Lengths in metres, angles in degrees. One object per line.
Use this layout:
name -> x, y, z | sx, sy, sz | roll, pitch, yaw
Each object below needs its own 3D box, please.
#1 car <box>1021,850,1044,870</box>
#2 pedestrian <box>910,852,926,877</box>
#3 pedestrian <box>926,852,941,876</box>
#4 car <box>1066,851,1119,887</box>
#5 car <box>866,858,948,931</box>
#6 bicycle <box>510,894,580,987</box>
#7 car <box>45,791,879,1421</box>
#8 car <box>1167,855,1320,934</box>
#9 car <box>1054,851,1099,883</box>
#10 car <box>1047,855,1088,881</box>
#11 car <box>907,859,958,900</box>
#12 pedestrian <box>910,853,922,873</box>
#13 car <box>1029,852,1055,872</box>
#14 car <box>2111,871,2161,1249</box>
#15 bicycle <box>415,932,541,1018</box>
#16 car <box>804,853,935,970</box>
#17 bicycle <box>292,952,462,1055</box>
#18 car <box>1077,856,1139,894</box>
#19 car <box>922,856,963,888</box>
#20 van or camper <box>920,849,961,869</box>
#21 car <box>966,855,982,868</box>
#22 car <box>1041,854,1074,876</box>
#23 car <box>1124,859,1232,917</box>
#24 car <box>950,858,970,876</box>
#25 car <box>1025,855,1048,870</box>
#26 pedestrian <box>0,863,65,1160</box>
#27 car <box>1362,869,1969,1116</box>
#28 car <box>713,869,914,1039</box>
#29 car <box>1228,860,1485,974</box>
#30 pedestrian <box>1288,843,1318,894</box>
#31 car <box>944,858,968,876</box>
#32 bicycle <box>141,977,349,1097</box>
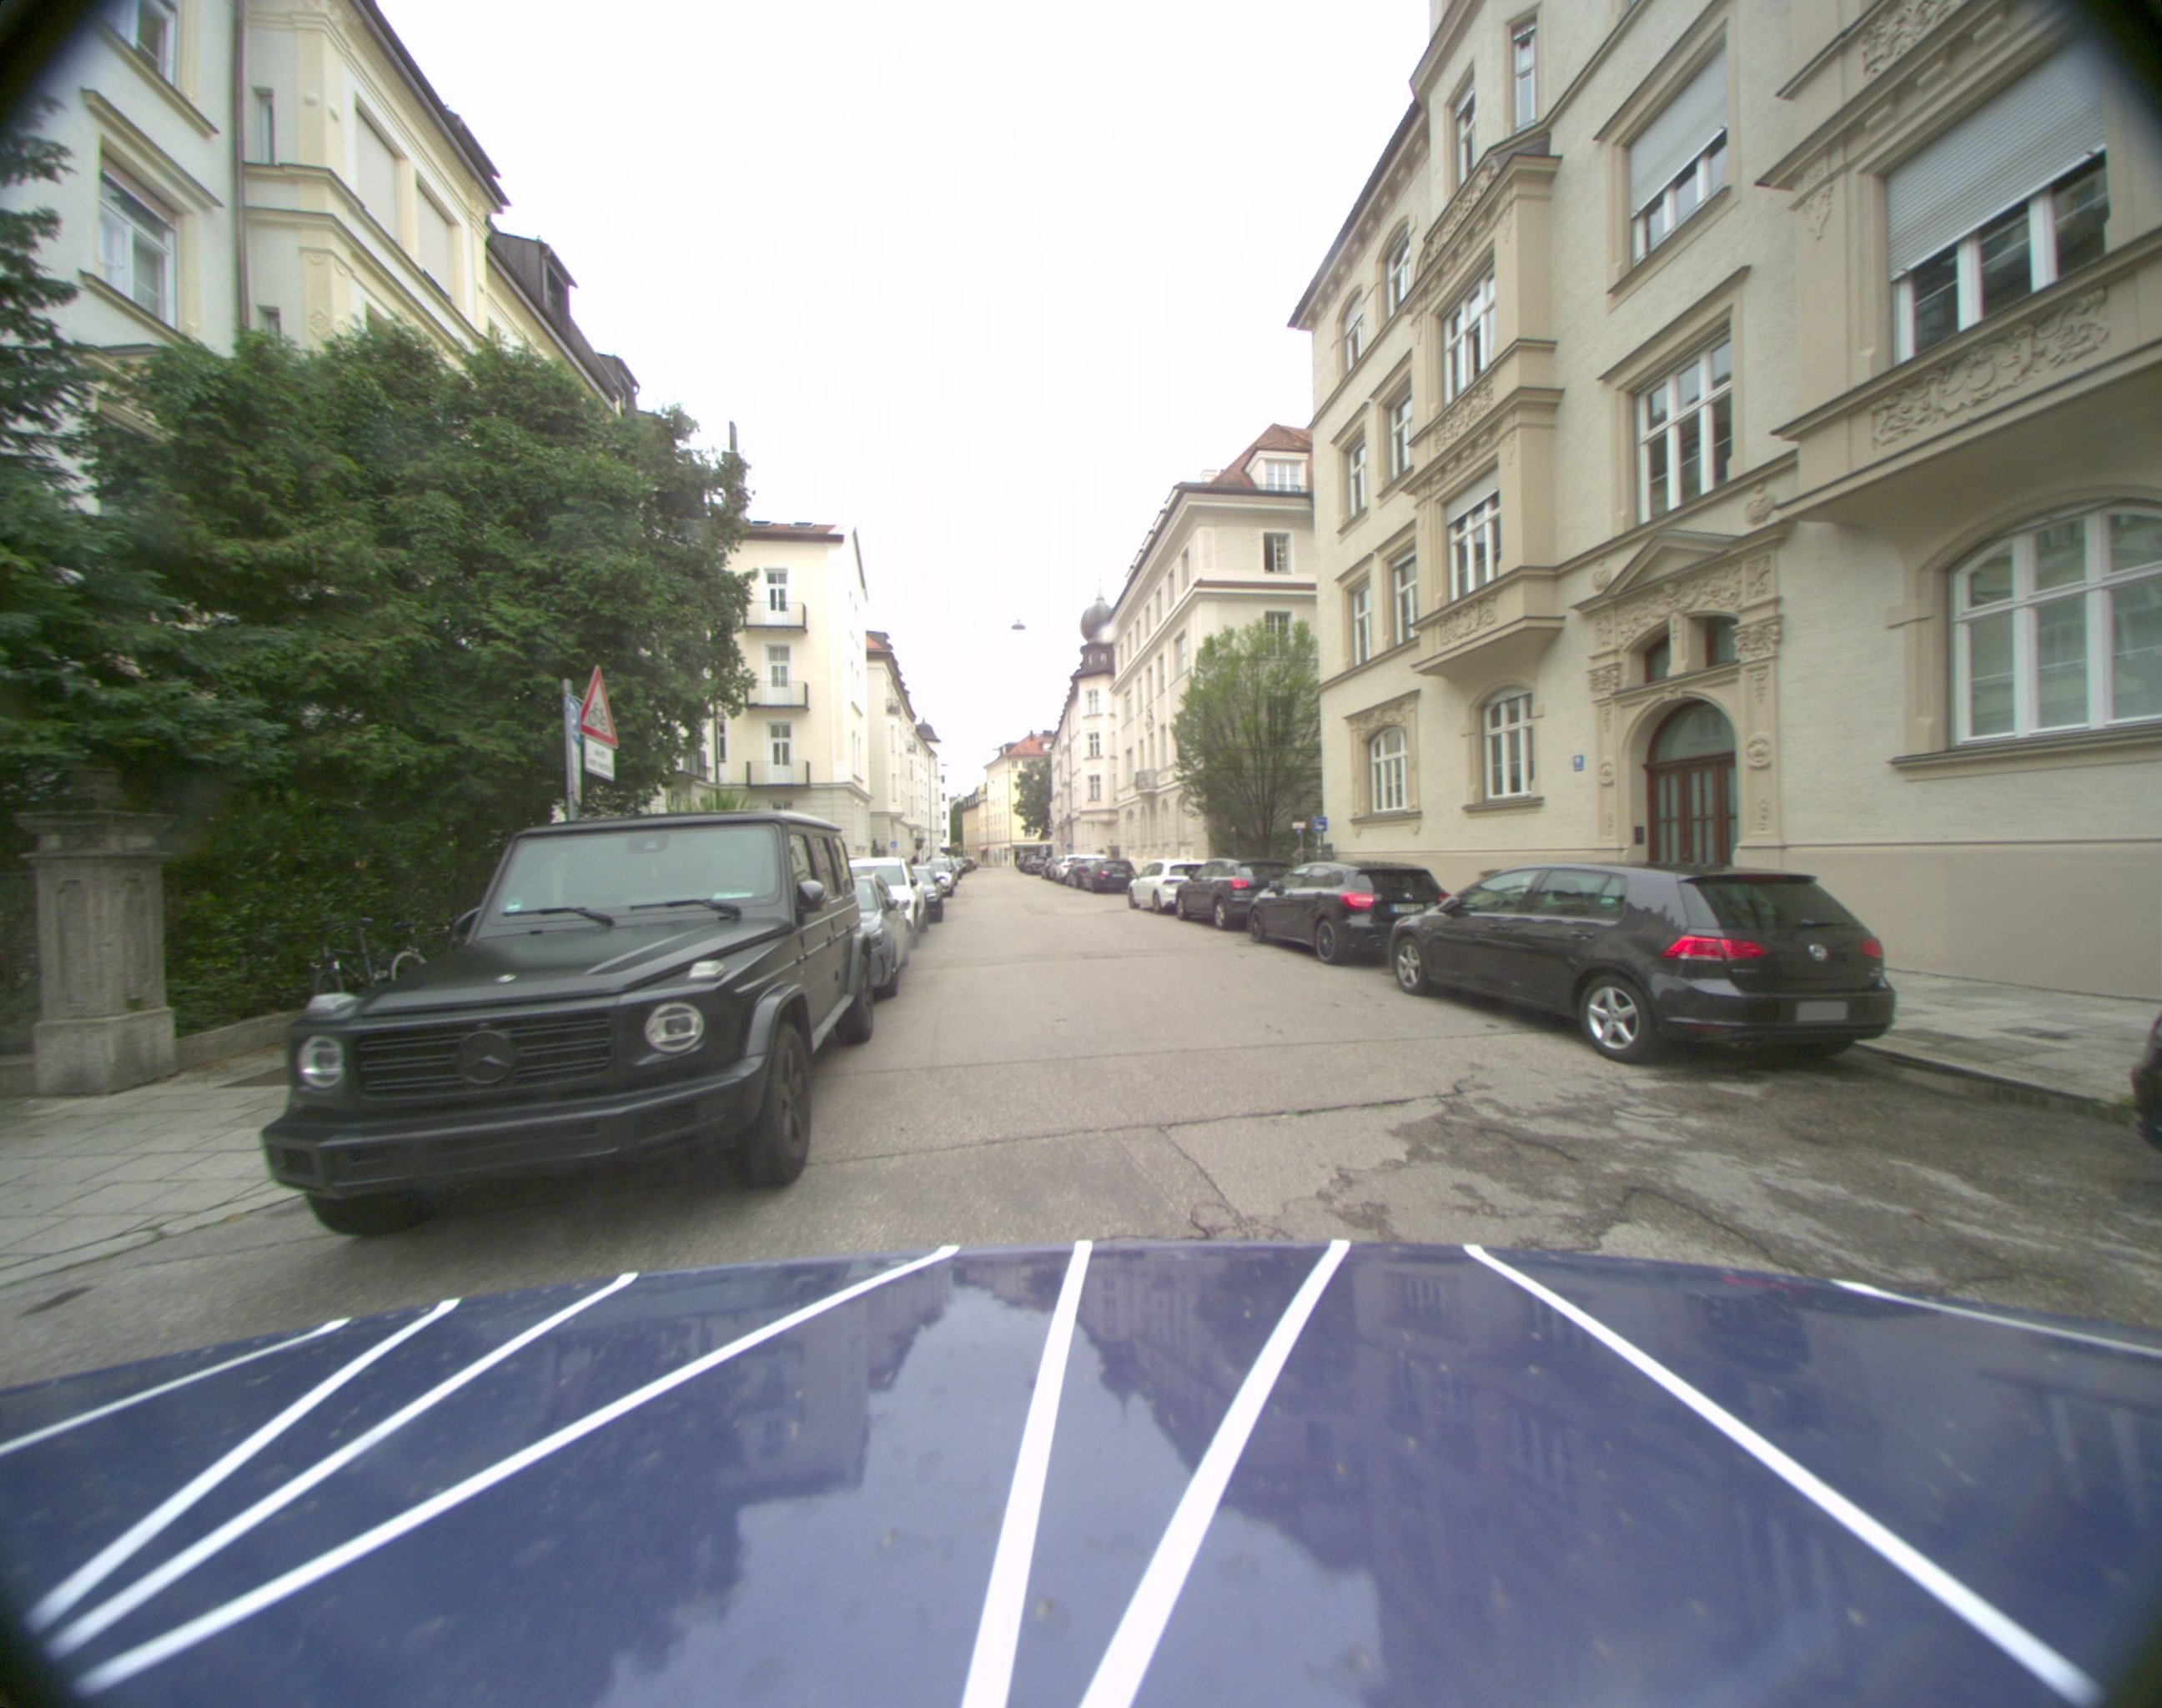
car -> -4.763, 0.621, 74.191 | 1.842, 1.883, 4.760 | 0, 0, -8
pedestrian -> -11.942, 0.773, 55.704 | 0.885, 1.801, 1.110 | -2, 1, -3
pedestrian -> -11.071, 0.750, 56.891 | 0.885, 1.776, 1.111 | -2, 1, -2
car -> 0.478, 0.686, 36.444 | 1.842, 1.609, 4.241 | -2, 0, -8
car -> -4.481, 0.965, 19.914 | 1.756, 1.601, 4.419 | -4, 0, -11
bicycle -> -7.166, 1.116, 10.200 | 0.515, 1.088, 1.351 | -2, 1, -26
car -> -2.641, 0.835, 4.895 | 1.957, 1.943, 4.662 | -3, 0, -8
car -> 3.416, 0.814, 16.899 | 1.776, 1.509, 4.381 | 1, 0, -10
car -> -0.326, 0.674, 41.931 | 1.921, 1.609, 4.568 | -2, 0, -7
car -> -0.892, 0.839, 47.071 | 1.789, 1.532, 4.253 | 0, 0, -11
car -> -6.143, 1.014, 31.797 | 1.790, 1.496, 4.062 | -3, 1, -8
pedestrian -> -15.039, 0.829, 69.165 | 0.886, 1.803, 1.110 | -2, 0, -7
car -> -3.267, 0.661, 62.814 | 1.732, 1.609, 4.117 | 0, 0, -10
car -> 5.385, 0.826, 1.253 | 1.759, 1.491, 4.015 | 0, 0, -7
bicycle -> -7.072, 1.389, 8.984 | 0.514, 0.777, 1.353 | -2, 0, -7
car -> -3.953, 0.954, 14.893 | 1.728, 1.759, 4.409 | -4, 1, -7
bicycle -> -6.921, 1.440, 7.553 | 0.514, 0.730, 1.353 | -2, 0, -7
car -> 1.056, 0.839, 31.866 | 1.793, 1.404, 4.364 | -2, 0, -8
car -> -7.682, 0.936, 42.445 | 1.827, 1.560, 4.398 | -4, 0, -6
van or camper -> -21.409, 0.776, 115.882 | 5.873, 2.697, 2.302 | -2, -2, -14
car -> -14.151, 0.964, 100.696 | 1.842, 1.609, 4.092 | -4, 0, -6
car -> -1.655, 0.741, 51.700 | 1.798, 1.407, 4.275 | 1, 0, -8
car -> 2.583, 0.869, 21.249 | 1.842, 1.425, 4.241 | 0, 0, -10
car -> -12.121, 1.270, 76.110 | 1.806, 1.665, 4.186 | -5, 1, -8
car -> -4.100, 0.750, 68.888 | 1.842, 1.386, 4.242 | 0, 0, -7
pedestrian -> -6.544, 0.904, 4.255 | 0.736, 1.693, 0.696 | 1, 1, -5
car -> 4.452, 0.898, 6.815 | 1.842, 1.427, 4.241 | 1, 0, -7
car -> -3.158, 1.066, 9.703 | 1.728, 1.510, 3.627 | -4, 1, -10
car -> 3.985, 0.809, 11.975 | 1.839, 1.425, 4.550 | 0, 0, -9
pedestrian -> 7.205, 0.454, 24.683 | 0.675, 1.617, 0.630 | -2, 1, -11
car -> -11.070, 1.118, 67.233 | 1.842, 1.391, 4.969 | -4, 0, -11
bicycle -> -6.768, 1.454, 6.226 | 0.514, 0.679, 1.122 | -2, 0, -7
